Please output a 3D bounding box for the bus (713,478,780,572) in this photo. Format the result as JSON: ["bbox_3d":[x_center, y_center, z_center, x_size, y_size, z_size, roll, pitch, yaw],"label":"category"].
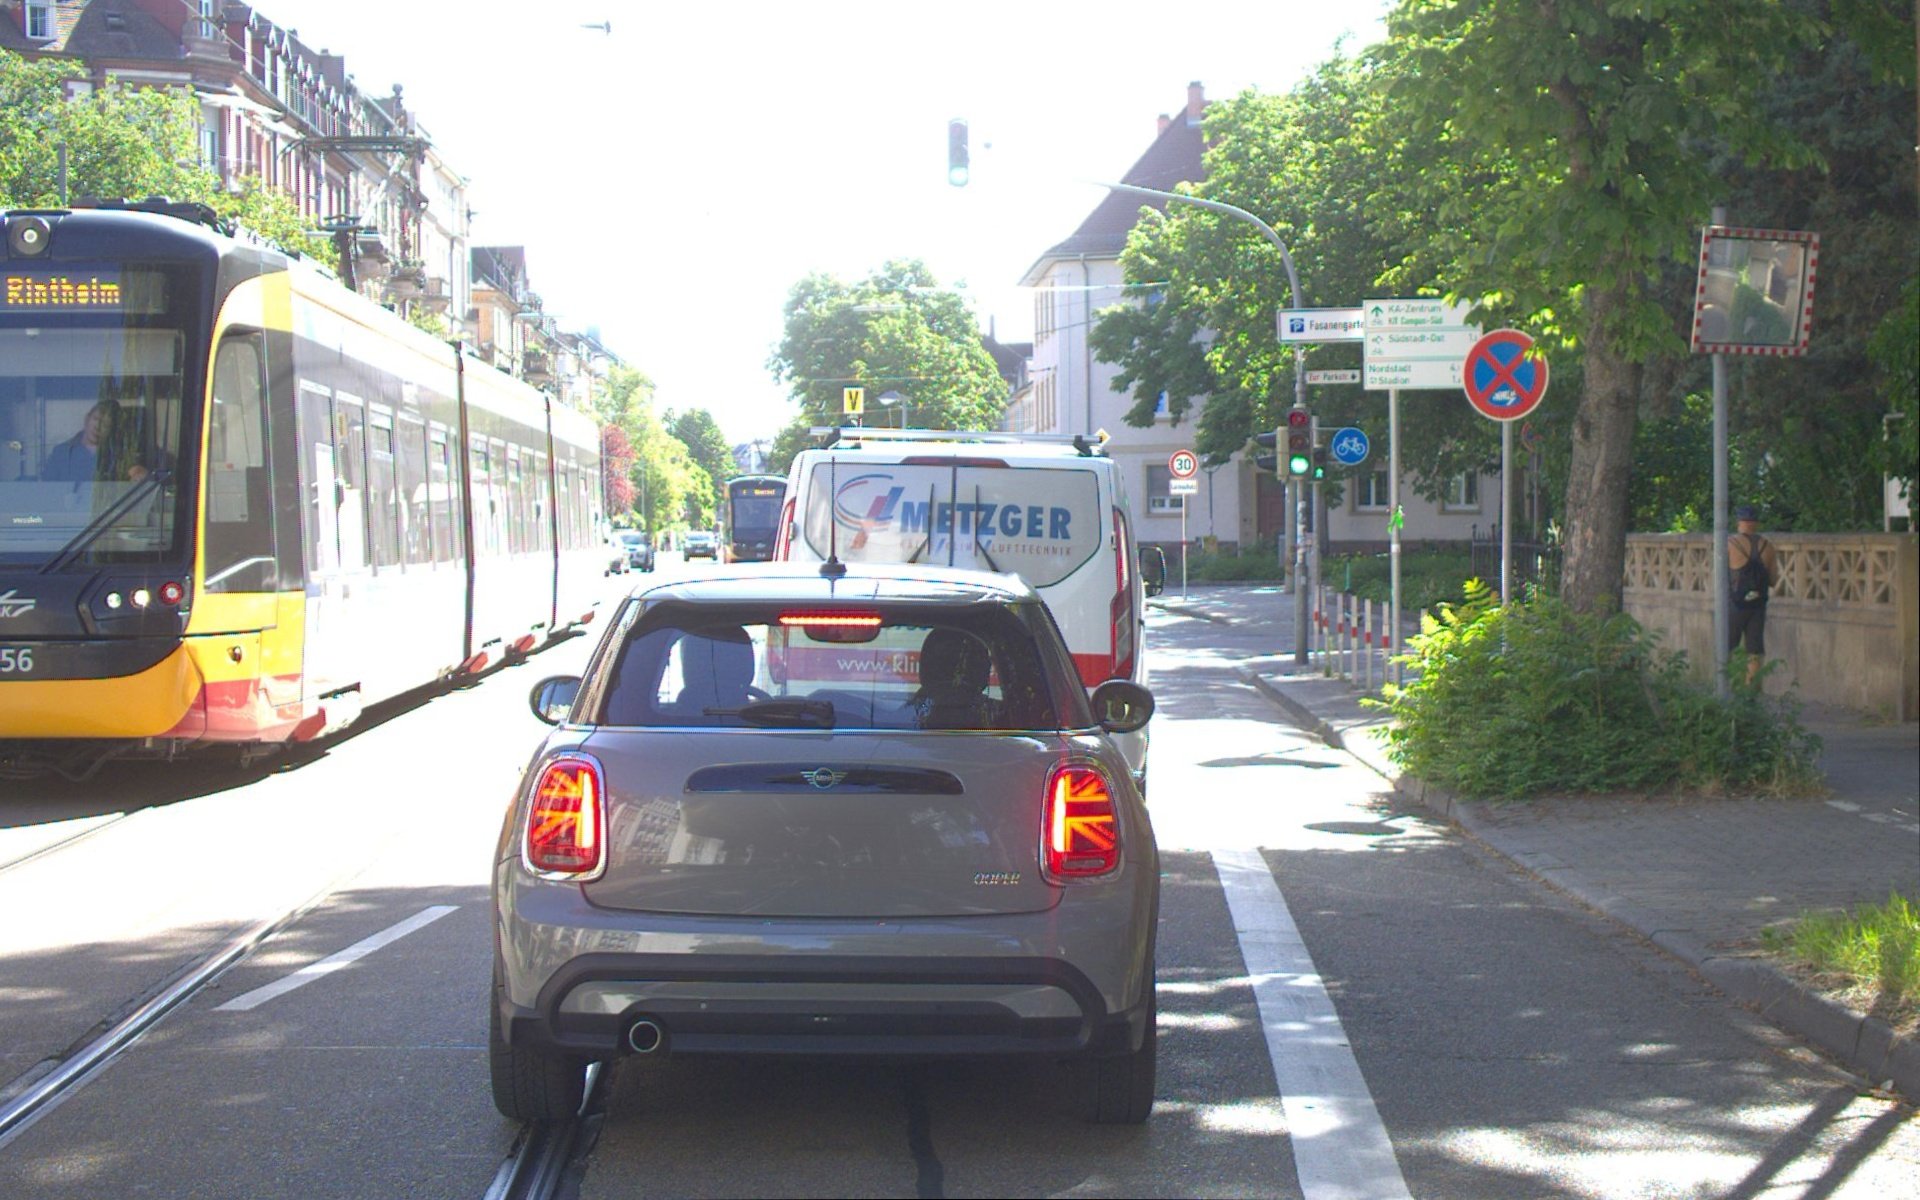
[{"bbox_3d":[-8.306,-2.873,133.271,2.385,3.484,7.385,1,1,-5],"label":"bus"}]

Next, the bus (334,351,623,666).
[{"bbox_3d":[-6.398,-1.165,47.540,2.849,3.764,12.199,1,1,-3],"label":"bus"}]

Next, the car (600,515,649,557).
[{"bbox_3d":[-13.143,-2.509,134.966,1.775,1.612,4.001,1,1,-4],"label":"car"}]

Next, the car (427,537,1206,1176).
[{"bbox_3d":[-0.361,0.586,10.108,1.815,1.483,4.000,1,1,-1],"label":"car"}]

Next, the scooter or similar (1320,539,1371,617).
[{"bbox_3d":[6.590,-0.379,58.822,0.676,1.305,1.329,1,0,-1],"label":"scooter or similar"}]

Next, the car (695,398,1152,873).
[{"bbox_3d":[-0.199,0.144,18.616,2.118,2.200,4.945,1,1,-1],"label":"car"}]

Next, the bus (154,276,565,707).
[{"bbox_3d":[-5.945,-1.016,35.975,2.859,3.764,11.185,1,1,-3],"label":"bus"}]

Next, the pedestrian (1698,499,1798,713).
[{"bbox_3d":[6.286,0.044,27.442,0.592,1.665,0.647,-2,0,-1],"label":"pedestrian"}]

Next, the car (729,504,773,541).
[{"bbox_3d":[-9.237,-3.389,151.697,1.863,1.558,4.001,1,1,-4],"label":"car"}]

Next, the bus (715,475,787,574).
[{"bbox_3d":[-7.691,-2.726,125.888,2.385,3.484,7.385,1,1,-5],"label":"bus"}]

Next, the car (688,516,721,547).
[{"bbox_3d":[-14.098,-3.768,189.504,1.775,1.612,4.001,1,1,-4],"label":"car"}]

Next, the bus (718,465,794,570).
[{"bbox_3d":[-7.074,-2.786,118.497,2.385,3.484,7.385,1,1,-5],"label":"bus"}]

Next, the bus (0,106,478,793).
[{"bbox_3d":[-5.428,-0.893,24.677,2.859,3.764,11.499,1,1,-3],"label":"bus"}]
